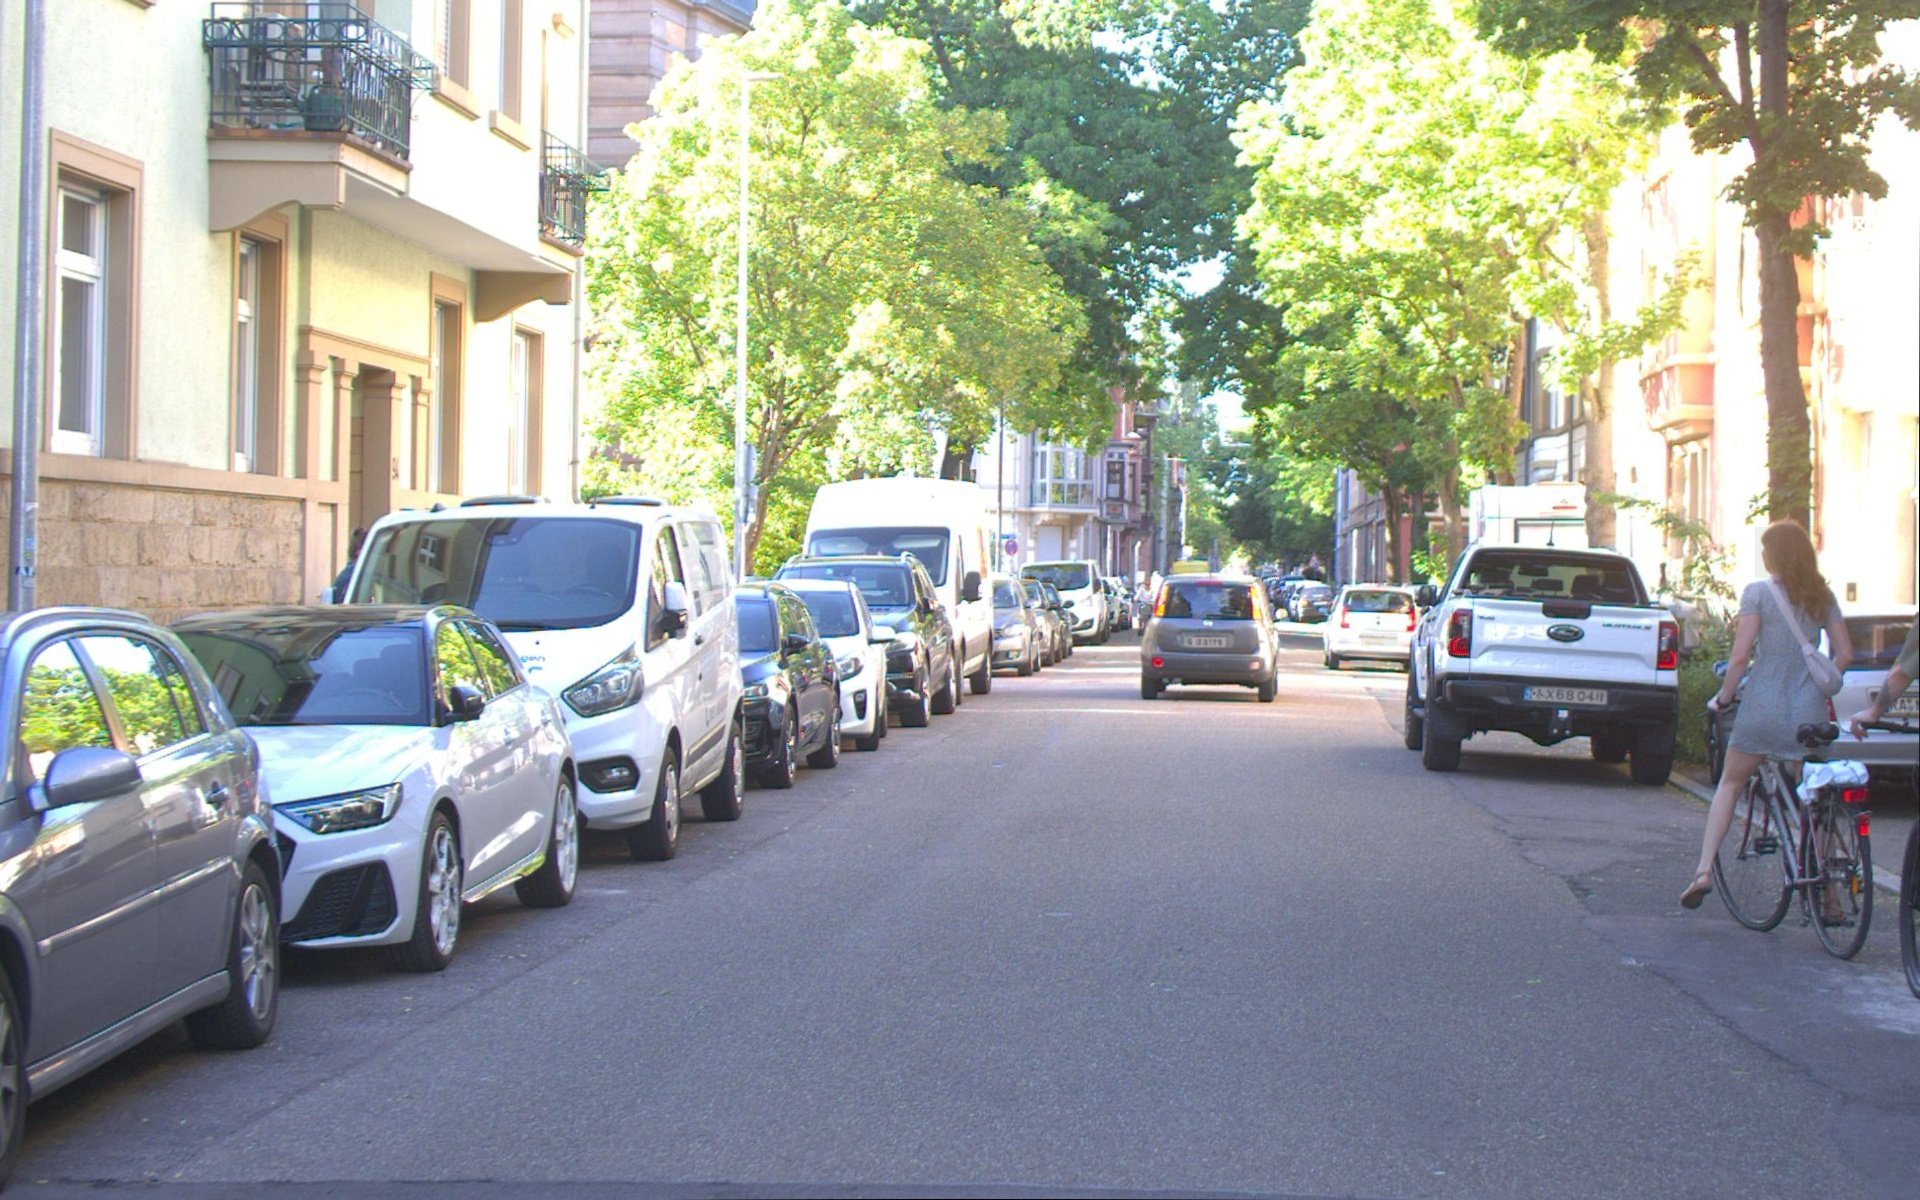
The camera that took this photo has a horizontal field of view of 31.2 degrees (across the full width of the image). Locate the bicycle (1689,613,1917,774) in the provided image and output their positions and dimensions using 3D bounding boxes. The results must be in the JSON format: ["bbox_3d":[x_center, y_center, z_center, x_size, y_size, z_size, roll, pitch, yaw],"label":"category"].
[{"bbox_3d":[7.070,0.776,28.871,1.759,1.301,0.586,1,0,4],"label":"bicycle"}]

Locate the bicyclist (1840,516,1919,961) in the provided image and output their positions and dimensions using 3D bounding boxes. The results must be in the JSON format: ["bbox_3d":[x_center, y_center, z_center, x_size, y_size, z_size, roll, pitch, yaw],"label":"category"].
[{"bbox_3d":[3.716,0.498,12.538,0.755,1.560,0.981,3,1,4],"label":"bicyclist"}]

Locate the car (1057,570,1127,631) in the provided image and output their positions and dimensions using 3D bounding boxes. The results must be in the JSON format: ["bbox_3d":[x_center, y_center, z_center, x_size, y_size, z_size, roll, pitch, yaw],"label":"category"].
[{"bbox_3d":[3.663,0.004,95.332,1.825,1.549,4.133,-3,0,3],"label":"car"}]

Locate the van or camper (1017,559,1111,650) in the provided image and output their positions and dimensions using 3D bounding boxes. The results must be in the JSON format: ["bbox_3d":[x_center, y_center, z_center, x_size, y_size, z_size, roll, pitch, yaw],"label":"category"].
[{"bbox_3d":[2.440,0.094,79.559,1.922,1.973,5.461,-2,0,4],"label":"van or camper"}]

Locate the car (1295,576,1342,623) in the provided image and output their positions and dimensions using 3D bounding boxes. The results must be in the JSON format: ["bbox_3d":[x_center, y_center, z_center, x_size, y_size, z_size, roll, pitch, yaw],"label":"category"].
[{"bbox_3d":[13.433,-0.022,128.740,1.663,1.663,3.756,2,1,6],"label":"car"}]

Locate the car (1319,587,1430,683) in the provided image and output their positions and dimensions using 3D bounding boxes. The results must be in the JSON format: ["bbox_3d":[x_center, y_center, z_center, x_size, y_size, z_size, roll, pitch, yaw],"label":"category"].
[{"bbox_3d":[7.248,0.587,60.378,1.679,1.539,3.800,2,1,4],"label":"car"}]

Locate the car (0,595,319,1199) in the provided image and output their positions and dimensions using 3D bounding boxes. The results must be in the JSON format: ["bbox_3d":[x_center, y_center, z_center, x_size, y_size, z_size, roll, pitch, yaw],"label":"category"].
[{"bbox_3d":[-3.160,0.744,9.599,1.720,1.457,4.507,-1,0,2],"label":"car"}]

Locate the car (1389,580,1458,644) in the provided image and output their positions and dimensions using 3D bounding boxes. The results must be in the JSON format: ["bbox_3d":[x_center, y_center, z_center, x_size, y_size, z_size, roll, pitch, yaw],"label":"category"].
[{"bbox_3d":[11.363,0.278,84.474,1.520,1.505,3.543,1,0,5],"label":"car"}]

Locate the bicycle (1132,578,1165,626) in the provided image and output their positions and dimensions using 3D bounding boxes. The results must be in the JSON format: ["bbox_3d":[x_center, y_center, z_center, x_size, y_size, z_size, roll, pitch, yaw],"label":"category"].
[{"bbox_3d":[4.456,0.051,81.351,0.665,1.073,1.685,4,1,4],"label":"bicycle"}]

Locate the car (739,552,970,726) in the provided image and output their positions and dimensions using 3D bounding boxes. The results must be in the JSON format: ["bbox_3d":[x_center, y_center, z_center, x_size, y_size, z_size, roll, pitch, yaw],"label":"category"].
[{"bbox_3d":[-1.026,0.357,36.051,1.875,1.680,4.969,-1,0,4],"label":"car"}]

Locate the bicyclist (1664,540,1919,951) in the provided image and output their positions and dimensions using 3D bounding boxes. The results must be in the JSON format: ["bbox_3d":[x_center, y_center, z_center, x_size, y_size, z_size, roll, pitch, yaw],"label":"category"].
[{"bbox_3d":[3.594,0.605,14.916,0.714,1.683,0.981,4,0,-4],"label":"bicyclist"}]

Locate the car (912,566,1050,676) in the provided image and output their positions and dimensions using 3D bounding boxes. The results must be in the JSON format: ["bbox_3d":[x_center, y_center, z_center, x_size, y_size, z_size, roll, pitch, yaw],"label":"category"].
[{"bbox_3d":[0.365,0.291,52.606,1.780,1.585,4.468,-1,0,4],"label":"car"}]

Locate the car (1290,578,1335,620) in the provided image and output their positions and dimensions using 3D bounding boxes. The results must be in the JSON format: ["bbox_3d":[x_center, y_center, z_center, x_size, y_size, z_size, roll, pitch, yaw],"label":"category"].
[{"bbox_3d":[13.651,-0.046,133.233,1.663,1.500,3.756,2,1,6],"label":"car"}]

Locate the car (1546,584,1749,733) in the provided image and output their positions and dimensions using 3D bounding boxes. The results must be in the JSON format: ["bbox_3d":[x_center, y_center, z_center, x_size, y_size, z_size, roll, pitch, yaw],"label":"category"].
[{"bbox_3d":[7.530,0.593,38.022,1.751,1.524,4.780,0,0,6],"label":"car"}]

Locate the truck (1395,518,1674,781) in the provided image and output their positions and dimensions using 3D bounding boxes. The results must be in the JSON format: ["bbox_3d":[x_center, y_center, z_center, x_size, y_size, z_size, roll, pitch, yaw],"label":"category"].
[{"bbox_3d":[4.703,0.344,28.822,1.829,1.942,5.540,2,1,5],"label":"truck"}]

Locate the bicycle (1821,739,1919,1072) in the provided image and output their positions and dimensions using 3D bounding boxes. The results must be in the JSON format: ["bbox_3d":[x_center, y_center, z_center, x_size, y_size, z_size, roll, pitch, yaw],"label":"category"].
[{"bbox_3d":[3.699,1.087,12.516,0.739,1.056,1.857,2,0,4],"label":"bicycle"}]

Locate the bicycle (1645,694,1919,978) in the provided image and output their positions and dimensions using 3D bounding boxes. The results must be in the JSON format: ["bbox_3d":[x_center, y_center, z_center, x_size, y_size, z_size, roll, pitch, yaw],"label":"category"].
[{"bbox_3d":[3.582,0.985,14.879,0.706,1.042,1.858,4,0,-3],"label":"bicycle"}]

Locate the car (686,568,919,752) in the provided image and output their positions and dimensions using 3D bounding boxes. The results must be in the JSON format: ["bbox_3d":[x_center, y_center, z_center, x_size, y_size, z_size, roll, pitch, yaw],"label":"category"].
[{"bbox_3d":[-1.352,0.504,30.991,1.635,1.546,4.088,0,0,4],"label":"car"}]

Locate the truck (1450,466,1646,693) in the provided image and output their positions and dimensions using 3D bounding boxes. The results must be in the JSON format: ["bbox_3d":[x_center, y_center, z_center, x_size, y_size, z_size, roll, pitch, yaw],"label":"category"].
[{"bbox_3d":[8.251,-0.300,48.741,2.074,2.958,6.108,-1,0,4],"label":"truck"}]

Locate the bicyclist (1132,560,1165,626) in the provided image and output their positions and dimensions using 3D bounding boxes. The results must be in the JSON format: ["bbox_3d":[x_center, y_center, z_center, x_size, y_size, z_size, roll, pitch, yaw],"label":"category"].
[{"bbox_3d":[4.476,-0.163,81.417,0.652,1.503,0.624,4,1,5],"label":"bicyclist"}]

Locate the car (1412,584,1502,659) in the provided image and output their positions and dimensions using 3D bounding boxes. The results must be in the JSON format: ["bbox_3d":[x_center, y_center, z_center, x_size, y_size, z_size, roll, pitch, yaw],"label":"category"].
[{"bbox_3d":[10.053,0.415,69.701,1.597,1.483,3.747,0,0,5],"label":"car"}]

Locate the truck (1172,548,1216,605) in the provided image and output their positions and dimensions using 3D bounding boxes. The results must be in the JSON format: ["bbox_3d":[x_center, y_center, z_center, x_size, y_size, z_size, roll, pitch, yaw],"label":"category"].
[{"bbox_3d":[12.540,-1.269,184.130,2.071,2.916,5.067,-3,0,6],"label":"truck"}]

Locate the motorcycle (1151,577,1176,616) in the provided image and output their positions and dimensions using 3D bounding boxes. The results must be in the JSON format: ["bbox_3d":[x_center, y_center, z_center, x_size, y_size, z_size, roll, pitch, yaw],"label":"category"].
[{"bbox_3d":[7.602,-0.140,128.449,0.696,1.456,1.751,0,0,-4],"label":"motorcycle"}]

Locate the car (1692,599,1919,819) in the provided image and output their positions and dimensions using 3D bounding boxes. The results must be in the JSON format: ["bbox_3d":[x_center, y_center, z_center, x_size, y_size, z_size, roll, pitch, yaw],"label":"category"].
[{"bbox_3d":[6.473,0.721,24.980,1.680,1.417,4.429,0,0,4],"label":"car"}]

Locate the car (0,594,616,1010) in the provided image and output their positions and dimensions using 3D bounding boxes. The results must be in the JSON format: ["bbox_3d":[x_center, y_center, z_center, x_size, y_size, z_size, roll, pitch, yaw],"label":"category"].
[{"bbox_3d":[-2.751,0.733,14.606,1.833,1.457,4.362,-1,0,4],"label":"car"}]

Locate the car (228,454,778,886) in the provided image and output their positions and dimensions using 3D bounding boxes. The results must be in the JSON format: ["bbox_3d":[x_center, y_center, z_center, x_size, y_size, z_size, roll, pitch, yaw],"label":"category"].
[{"bbox_3d":[-2.487,0.349,20.241,2.251,2.161,5.243,-1,0,3],"label":"car"}]

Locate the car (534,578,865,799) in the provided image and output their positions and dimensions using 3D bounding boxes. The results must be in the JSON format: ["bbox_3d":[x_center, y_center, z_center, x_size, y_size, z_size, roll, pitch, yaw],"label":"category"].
[{"bbox_3d":[-1.879,0.595,26.264,1.767,1.516,4.824,0,1,5],"label":"car"}]

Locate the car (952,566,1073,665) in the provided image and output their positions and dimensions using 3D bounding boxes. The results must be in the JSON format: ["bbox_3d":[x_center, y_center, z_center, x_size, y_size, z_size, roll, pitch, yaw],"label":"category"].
[{"bbox_3d":[0.928,0.236,58.784,1.676,1.567,4.150,-2,0,6],"label":"car"}]

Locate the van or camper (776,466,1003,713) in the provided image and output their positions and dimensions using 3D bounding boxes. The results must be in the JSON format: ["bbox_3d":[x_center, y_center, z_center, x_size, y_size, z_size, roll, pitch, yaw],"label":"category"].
[{"bbox_3d":[-0.761,-0.136,41.816,2.129,2.760,5.850,-1,0,5],"label":"van or camper"}]

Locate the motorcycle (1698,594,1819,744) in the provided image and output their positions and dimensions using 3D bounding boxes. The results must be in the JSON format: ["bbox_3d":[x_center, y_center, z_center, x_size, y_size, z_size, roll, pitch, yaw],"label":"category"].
[{"bbox_3d":[7.975,0.668,34.419,0.861,1.411,2.233,2,1,6],"label":"motorcycle"}]

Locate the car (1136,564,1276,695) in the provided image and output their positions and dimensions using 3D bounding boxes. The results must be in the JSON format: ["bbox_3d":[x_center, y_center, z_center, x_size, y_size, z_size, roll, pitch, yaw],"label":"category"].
[{"bbox_3d":[3.028,0.333,42.157,1.633,1.545,3.264,0,1,5],"label":"car"}]

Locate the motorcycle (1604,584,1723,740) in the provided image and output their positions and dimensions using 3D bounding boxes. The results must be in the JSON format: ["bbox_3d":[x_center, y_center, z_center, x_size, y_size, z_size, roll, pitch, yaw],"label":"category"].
[{"bbox_3d":[7.034,0.595,34.478,0.930,1.481,2.137,2,1,6],"label":"motorcycle"}]
